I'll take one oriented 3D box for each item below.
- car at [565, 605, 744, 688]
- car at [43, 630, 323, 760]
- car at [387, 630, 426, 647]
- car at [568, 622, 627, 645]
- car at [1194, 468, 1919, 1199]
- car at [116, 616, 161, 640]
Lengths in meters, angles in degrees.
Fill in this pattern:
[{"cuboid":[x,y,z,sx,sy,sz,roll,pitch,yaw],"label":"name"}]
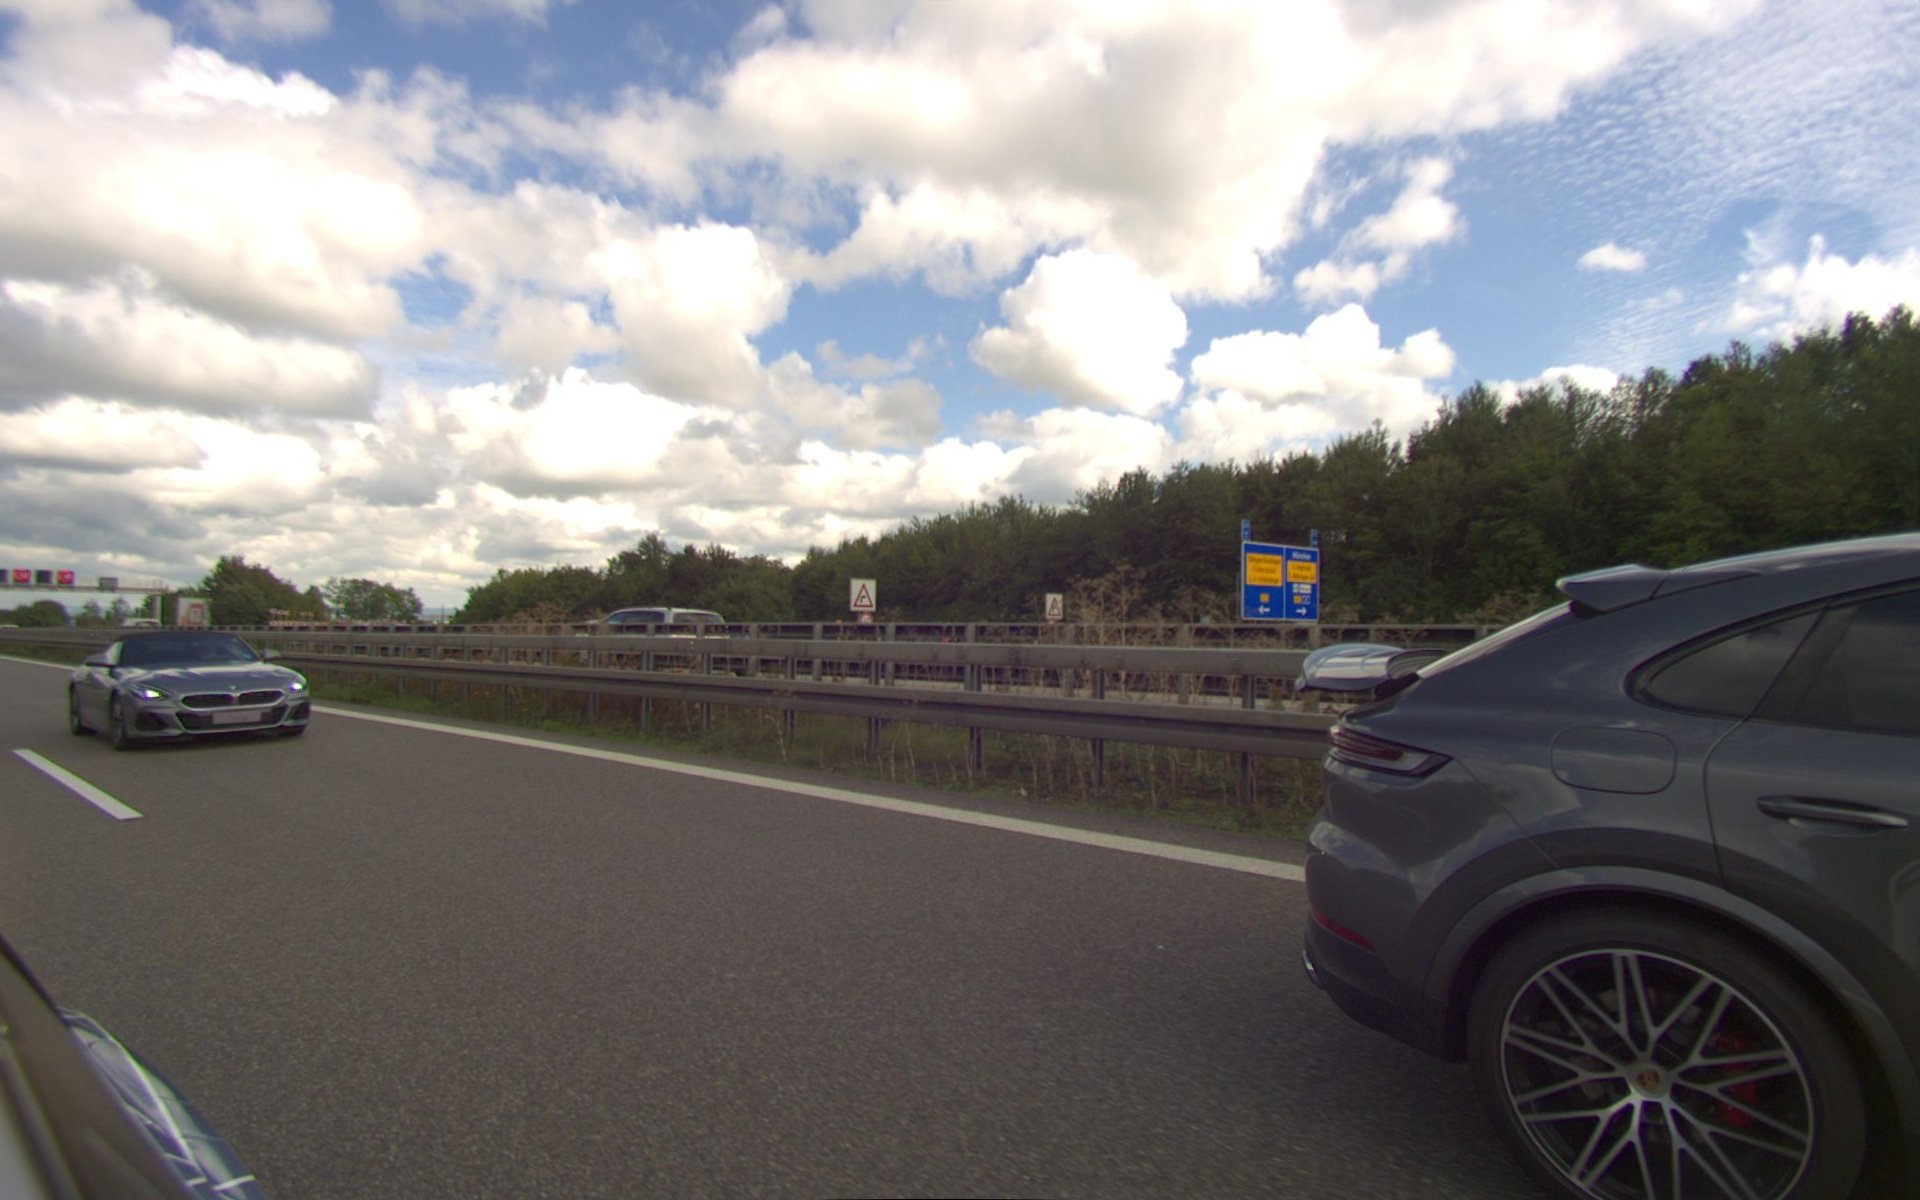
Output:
[{"cuboid":[-6.535,0.950,21.435,4.170,1.589,1.658,-2,-2,40],"label":"car"},{"cuboid":[-9.979,1.057,12.837,4.939,1.312,1.854,-1,-1,41],"label":"car"},{"cuboid":[-53.789,3.737,98.273,5.007,1.648,1.791,-2,-2,42],"label":"car"},{"cuboid":[-25.873,2.354,72.111,5.008,1.589,1.752,-2,-2,40],"label":"car"},{"cuboid":[3.375,0.552,1.854,5.496,1.648,1.893,-1,-1,41],"label":"car"},{"cuboid":[-59.151,2.034,72.811,5.007,1.648,1.791,-1,-1,42],"label":"car"}]
